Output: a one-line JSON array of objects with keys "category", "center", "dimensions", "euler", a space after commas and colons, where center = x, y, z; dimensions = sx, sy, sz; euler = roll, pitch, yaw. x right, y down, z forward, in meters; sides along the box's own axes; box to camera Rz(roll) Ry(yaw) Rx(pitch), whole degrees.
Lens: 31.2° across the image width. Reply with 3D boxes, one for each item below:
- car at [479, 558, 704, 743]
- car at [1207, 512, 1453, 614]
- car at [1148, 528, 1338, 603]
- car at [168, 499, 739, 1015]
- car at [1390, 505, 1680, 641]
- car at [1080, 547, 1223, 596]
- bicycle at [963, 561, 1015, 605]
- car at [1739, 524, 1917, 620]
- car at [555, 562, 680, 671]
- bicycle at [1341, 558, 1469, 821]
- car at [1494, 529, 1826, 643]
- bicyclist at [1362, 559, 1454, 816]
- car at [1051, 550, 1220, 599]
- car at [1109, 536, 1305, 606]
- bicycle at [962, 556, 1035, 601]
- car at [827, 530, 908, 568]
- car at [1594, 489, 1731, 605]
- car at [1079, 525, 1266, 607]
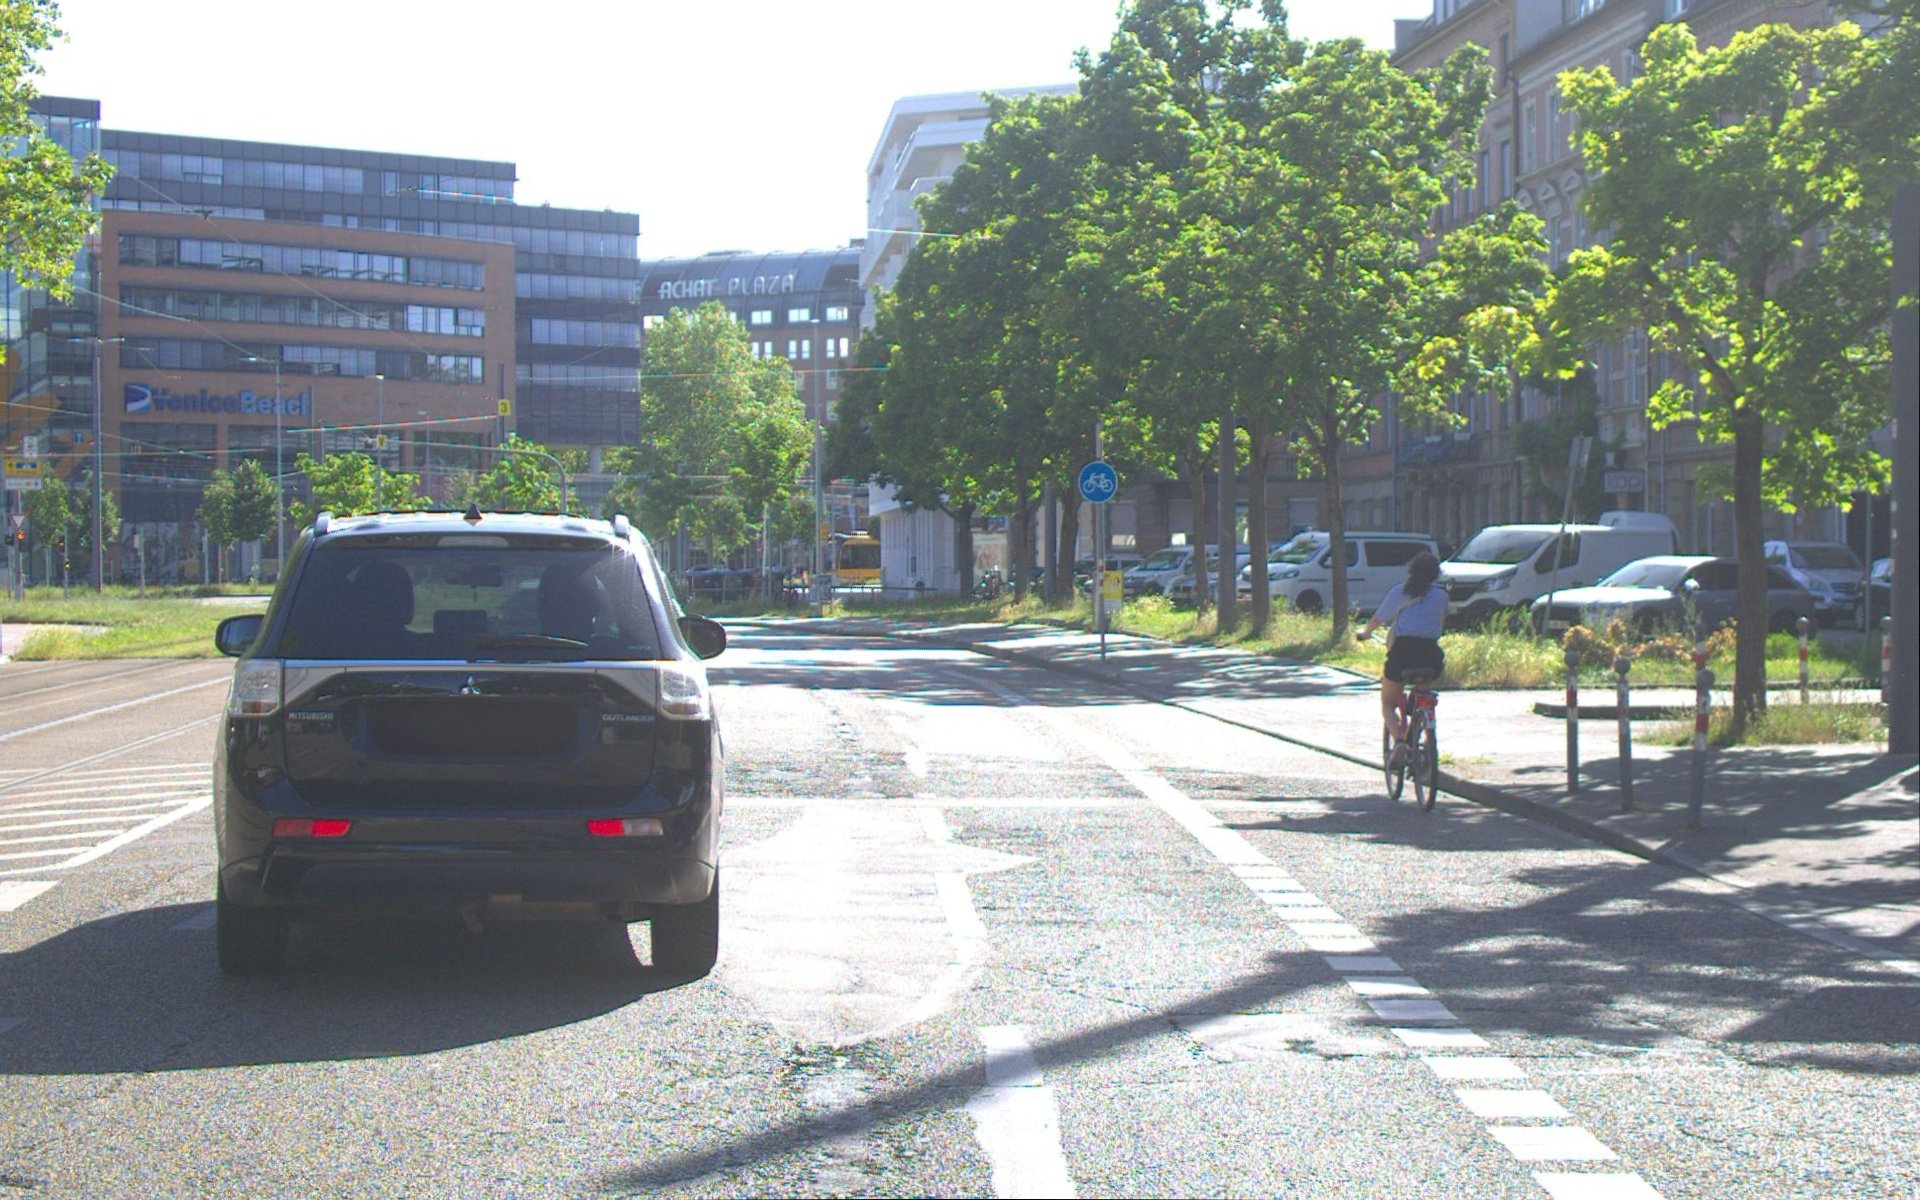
[{"category": "car", "center": [-3.149, 0.445, 29.560], "dimensions": [1.734, 1.418, 4.468], "euler": [2, -1, -6]}, {"category": "car", "center": [8.135, -0.819, 75.429], "dimensions": [5.171, 2.006, 2.100], "euler": [-3, 1, -34]}, {"category": "car", "center": [7.225, -0.881, 87.546], "dimensions": [4.499, 1.721, 2.000], "euler": [-3, 1, -34]}, {"category": "car", "center": [-1.901, 0.509, 13.574], "dimensions": [1.836, 1.676, 4.644], "euler": [0, 0, -6]}, {"category": "car", "center": [9.660, -0.471, 57.554], "dimensions": [4.866, 2.068, 2.020], "euler": [-3, 2, -39]}, {"category": "car", "center": [6.291, -0.959, 112.563], "dimensions": [4.456, 1.560, 1.938], "euler": [-1, 1, -36]}, {"category": "bicycle", "center": [0.883, -0.513, 103.107], "dimensions": [0.769, 1.285, 1.594], "euler": [-1, 1, 35]}, {"category": "car", "center": [17.373, -0.593, 69.028], "dimensions": [1.993, 1.793, 4.627], "euler": [-2, 2, -5]}, {"category": "car", "center": [-4.805, 0.256, 48.462], "dimensions": [1.632, 1.418, 3.782], "euler": [2, -1, -5]}, {"category": "bicycle", "center": [2.900, 0.550, 22.546], "dimensions": [0.437, 1.633, 1.939], "euler": [-1, 1, -4]}, {"category": "car", "center": [10.257, -0.227, 50.205], "dimensions": [4.866, 1.430, 2.020], "euler": [-3, 2, -37]}, {"category": "bicyclist", "center": [2.911, 0.555, 22.380], "dimensions": [0.437, 1.633, 0.779], "euler": [-1, 1, -4]}, {"category": "car", "center": [5.118, -0.768, 99.933], "dimensions": [4.738, 1.375, 2.045], "euler": [-1, 1, -38]}, {"category": "car", "center": [6.560, -0.774, 91.061], "dimensions": [4.865, 1.642, 2.100], "euler": [-3, 1, -34]}, {"category": "bicycle", "center": [1.178, -0.660, 105.039], "dimensions": [2.092, 1.360, 0.787], "euler": [0, 0, -10]}, {"category": "car", "center": [-4.960, -2.725, 184.891], "dimensions": [3.989, 2.007, 1.999], "euler": [0, 0, 11]}, {"category": "car", "center": [16.422, -1.273, 80.563], "dimensions": [1.993, 2.576, 4.514], "euler": [-2, 2, -3]}, {"category": "car", "center": [5.796, -0.940, 93.436], "dimensions": [4.866, 2.006, 2.100], "euler": [-3, 1, -38]}]
